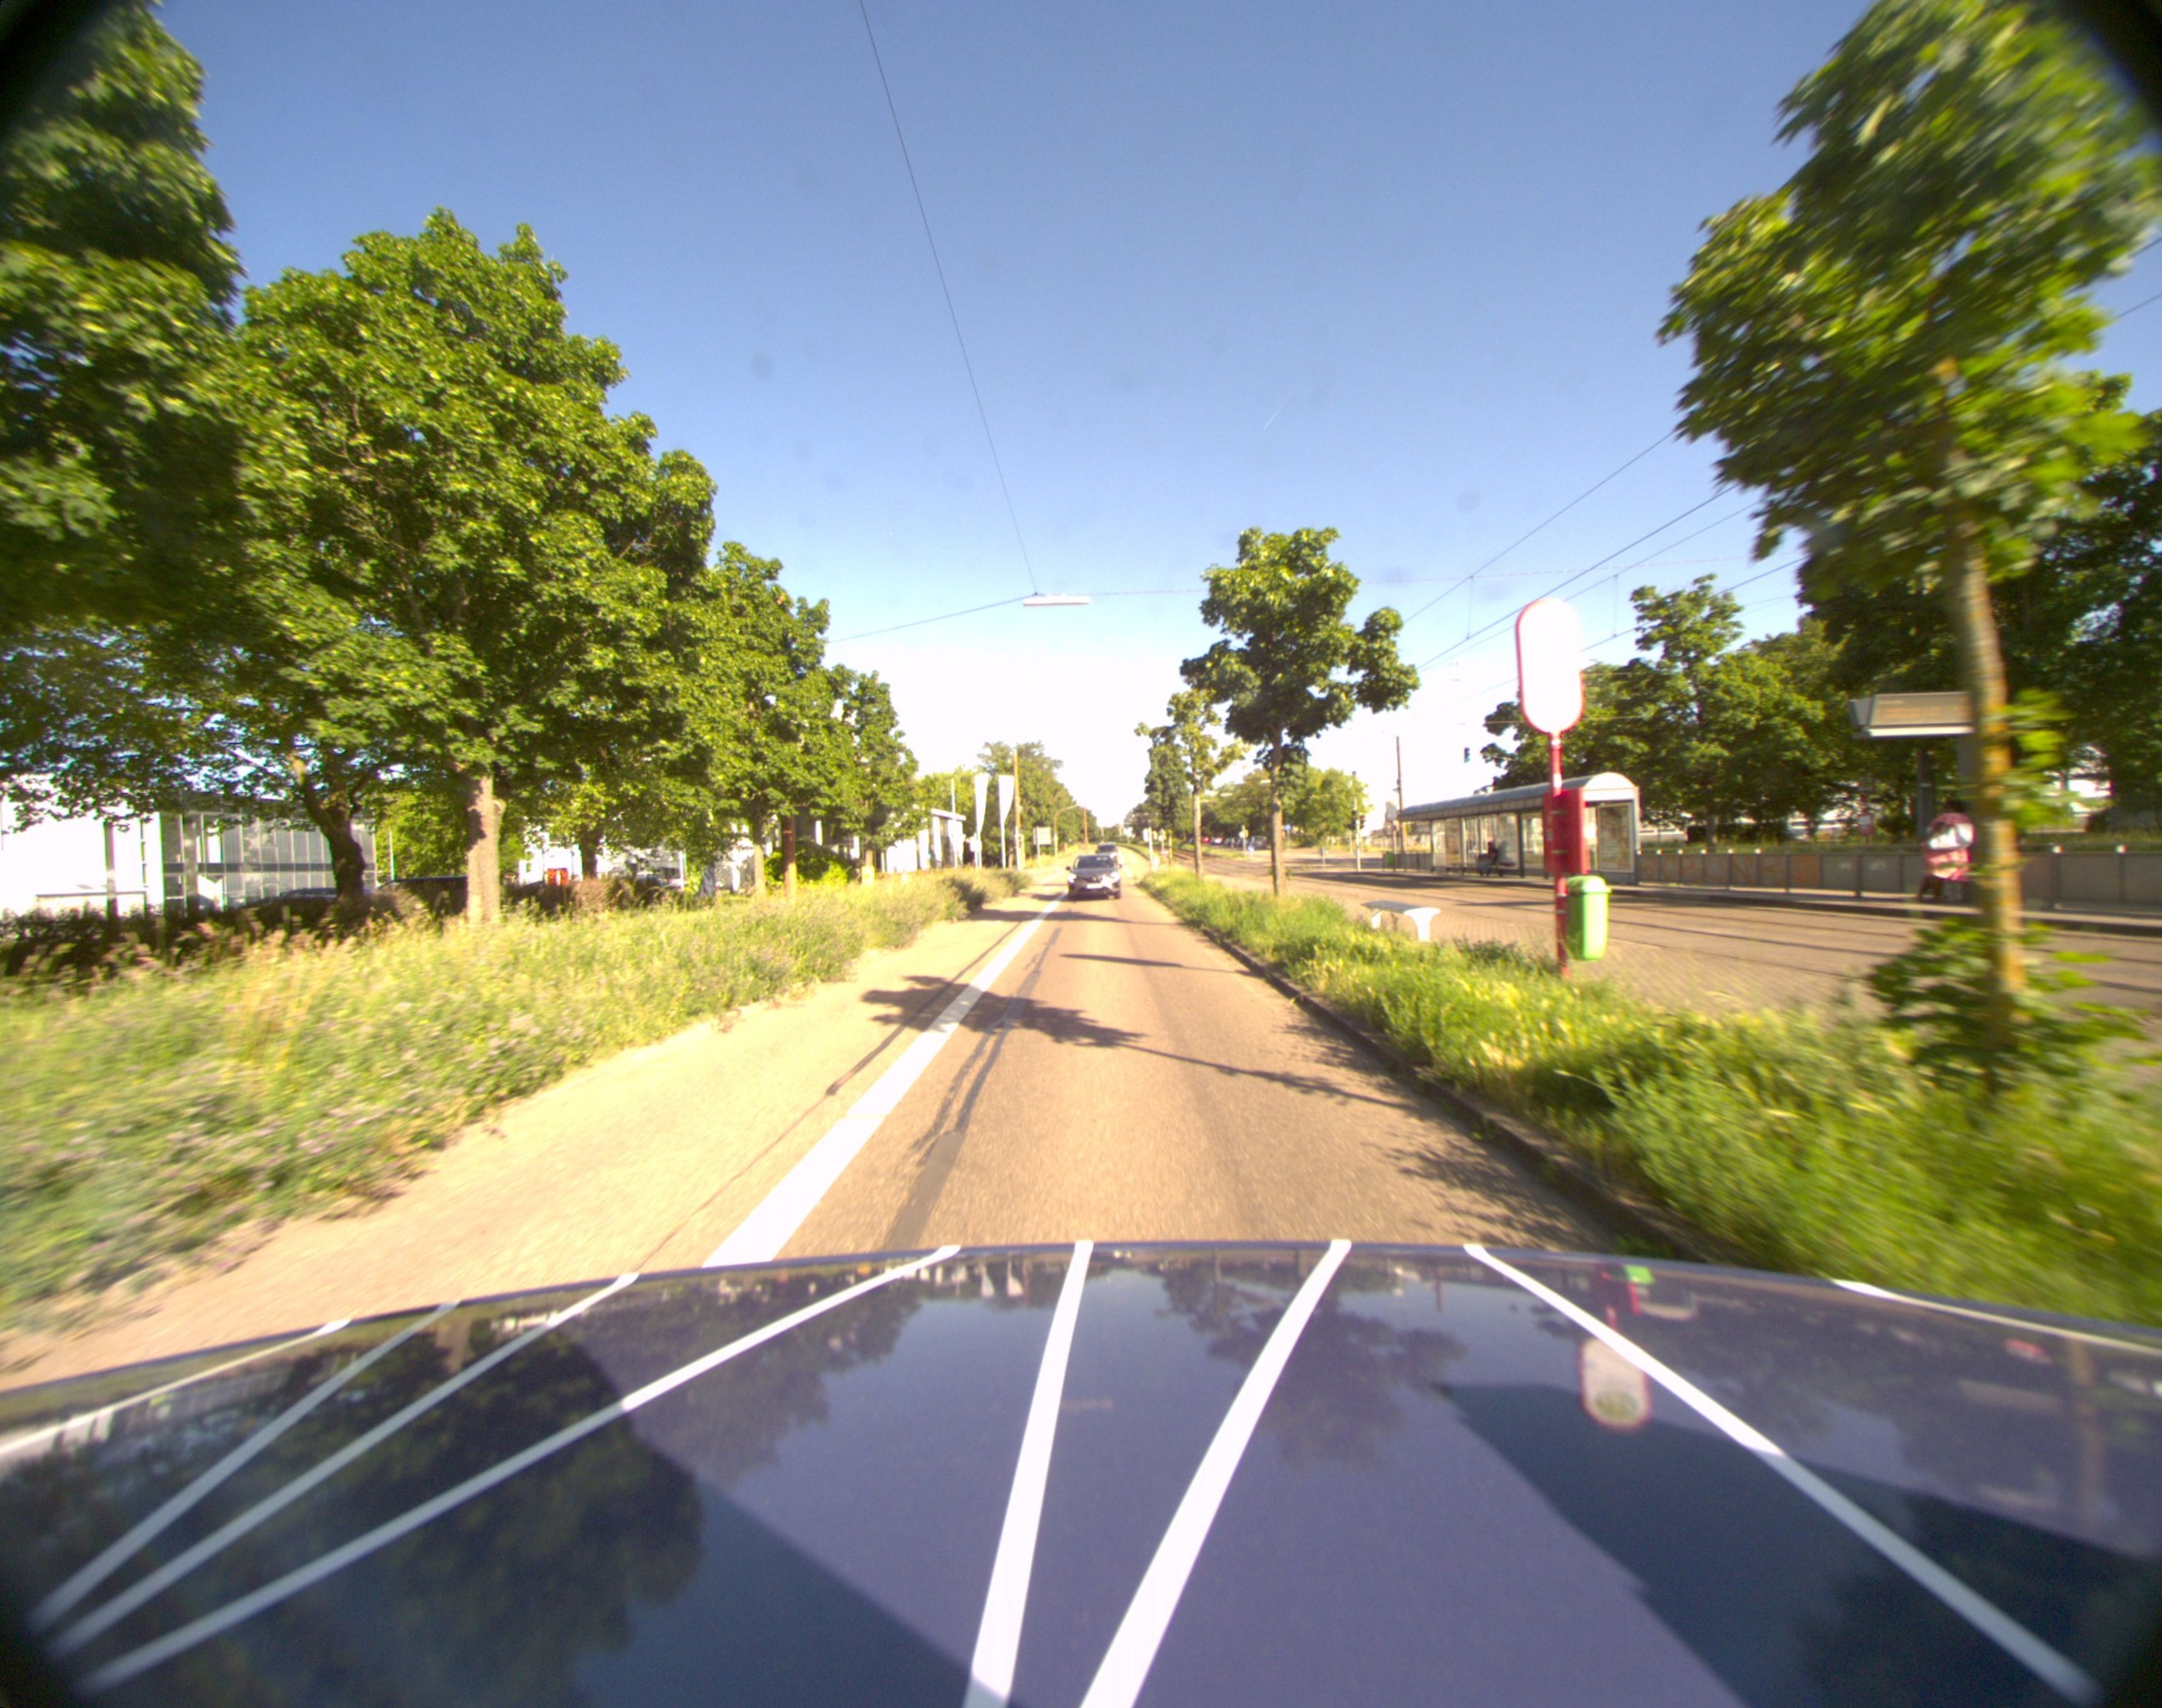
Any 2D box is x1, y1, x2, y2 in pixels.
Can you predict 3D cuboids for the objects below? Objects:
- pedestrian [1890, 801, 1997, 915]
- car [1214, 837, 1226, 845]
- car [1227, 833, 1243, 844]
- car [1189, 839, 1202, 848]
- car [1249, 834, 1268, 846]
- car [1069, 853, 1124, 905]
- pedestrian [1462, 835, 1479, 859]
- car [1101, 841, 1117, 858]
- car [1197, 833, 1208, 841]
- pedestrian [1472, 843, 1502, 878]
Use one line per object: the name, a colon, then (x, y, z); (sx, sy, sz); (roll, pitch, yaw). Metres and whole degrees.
pedestrian: (13.865, 0.056, 12.238); (0.786, 1.741, 0.781); (-3, 1, 0)
car: (26.916, -2.513, 147.125); (1.701, 1.575, 3.456); (-2, 0, -1)
car: (24.213, -2.373, 119.356); (1.701, 1.575, 3.456); (-2, 0, -1)
car: (21.013, -1.941, 139.740); (1.701, 1.575, 3.456); (-2, 0, -1)
car: (24.790, -1.944, 106.193); (1.772, 1.575, 3.456); (-2, 0, -1)
car: (0.490, 0.797, 26.564); (1.750, 1.585, 4.246); (-1, 1, -1)
pedestrian: (27.260, -0.486, 53.188); (0.639, 1.667, 0.805); (-4, 1, -38)
car: (2.897, -0.476, 79.278); (1.555, 1.764, 3.456); (-2, 0, -1)
car: (26.376, -3.742, 165.190); (1.701, 1.575, 3.456); (-2, 0, -1)
pedestrian: (14.397, 0.226, 26.939); (0.650, 1.241, 0.681); (0, 0, -8)
